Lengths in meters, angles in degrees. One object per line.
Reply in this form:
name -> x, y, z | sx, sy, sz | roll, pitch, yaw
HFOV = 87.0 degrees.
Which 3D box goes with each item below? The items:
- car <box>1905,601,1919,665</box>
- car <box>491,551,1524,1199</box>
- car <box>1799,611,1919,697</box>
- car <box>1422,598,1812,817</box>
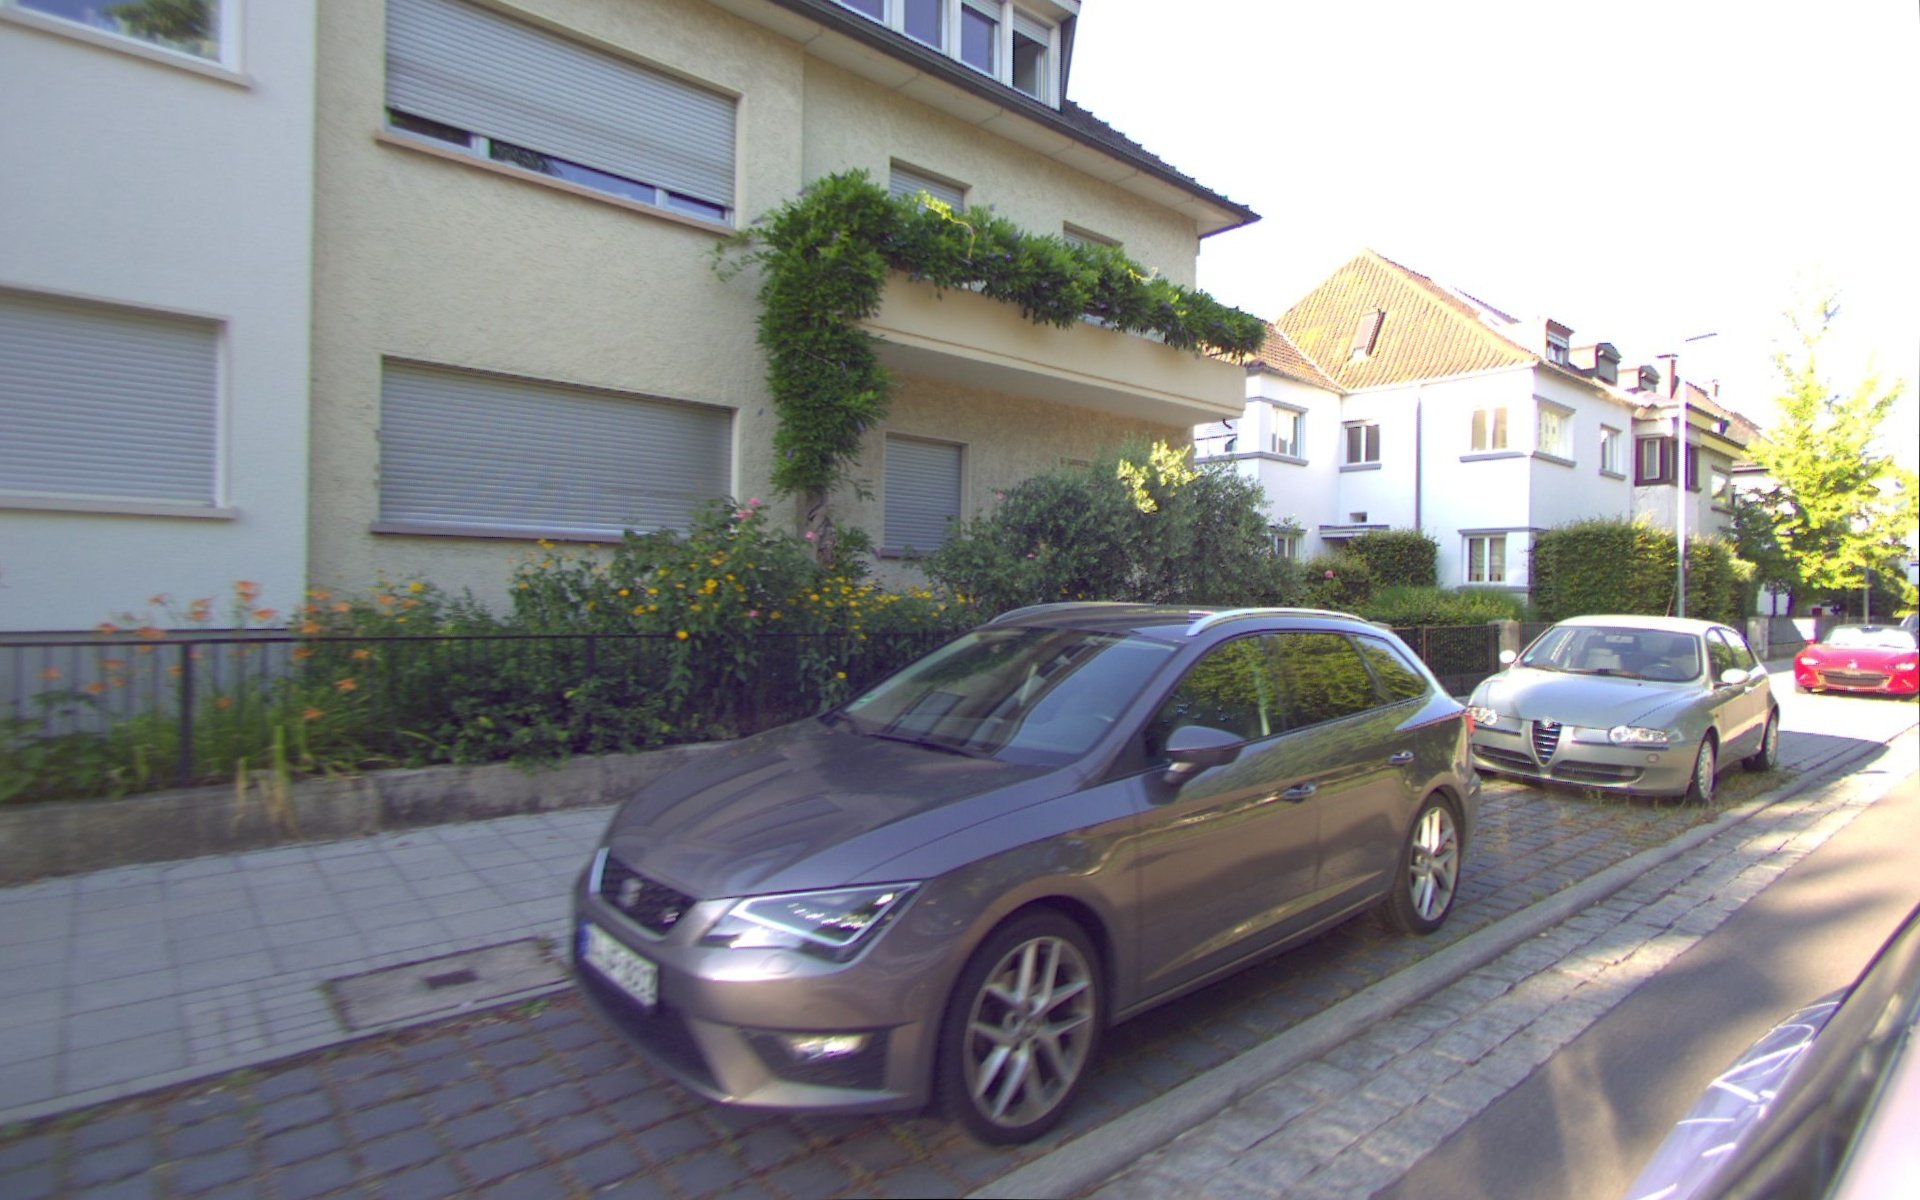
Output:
car -> 24.062, 0.811, 24.358 | 3.430, 1.498, 1.508 | 1, 2, -40
car -> 0.526, 0.658, 4.177 | 4.120, 1.512, 1.798 | 1, 3, -41
car -> 16.380, 0.889, 17.944 | 3.812, 1.273, 1.702 | 0, 2, -41
car -> 5.906, 0.753, 8.916 | 4.006, 1.397, 1.798 | 1, 3, -41
